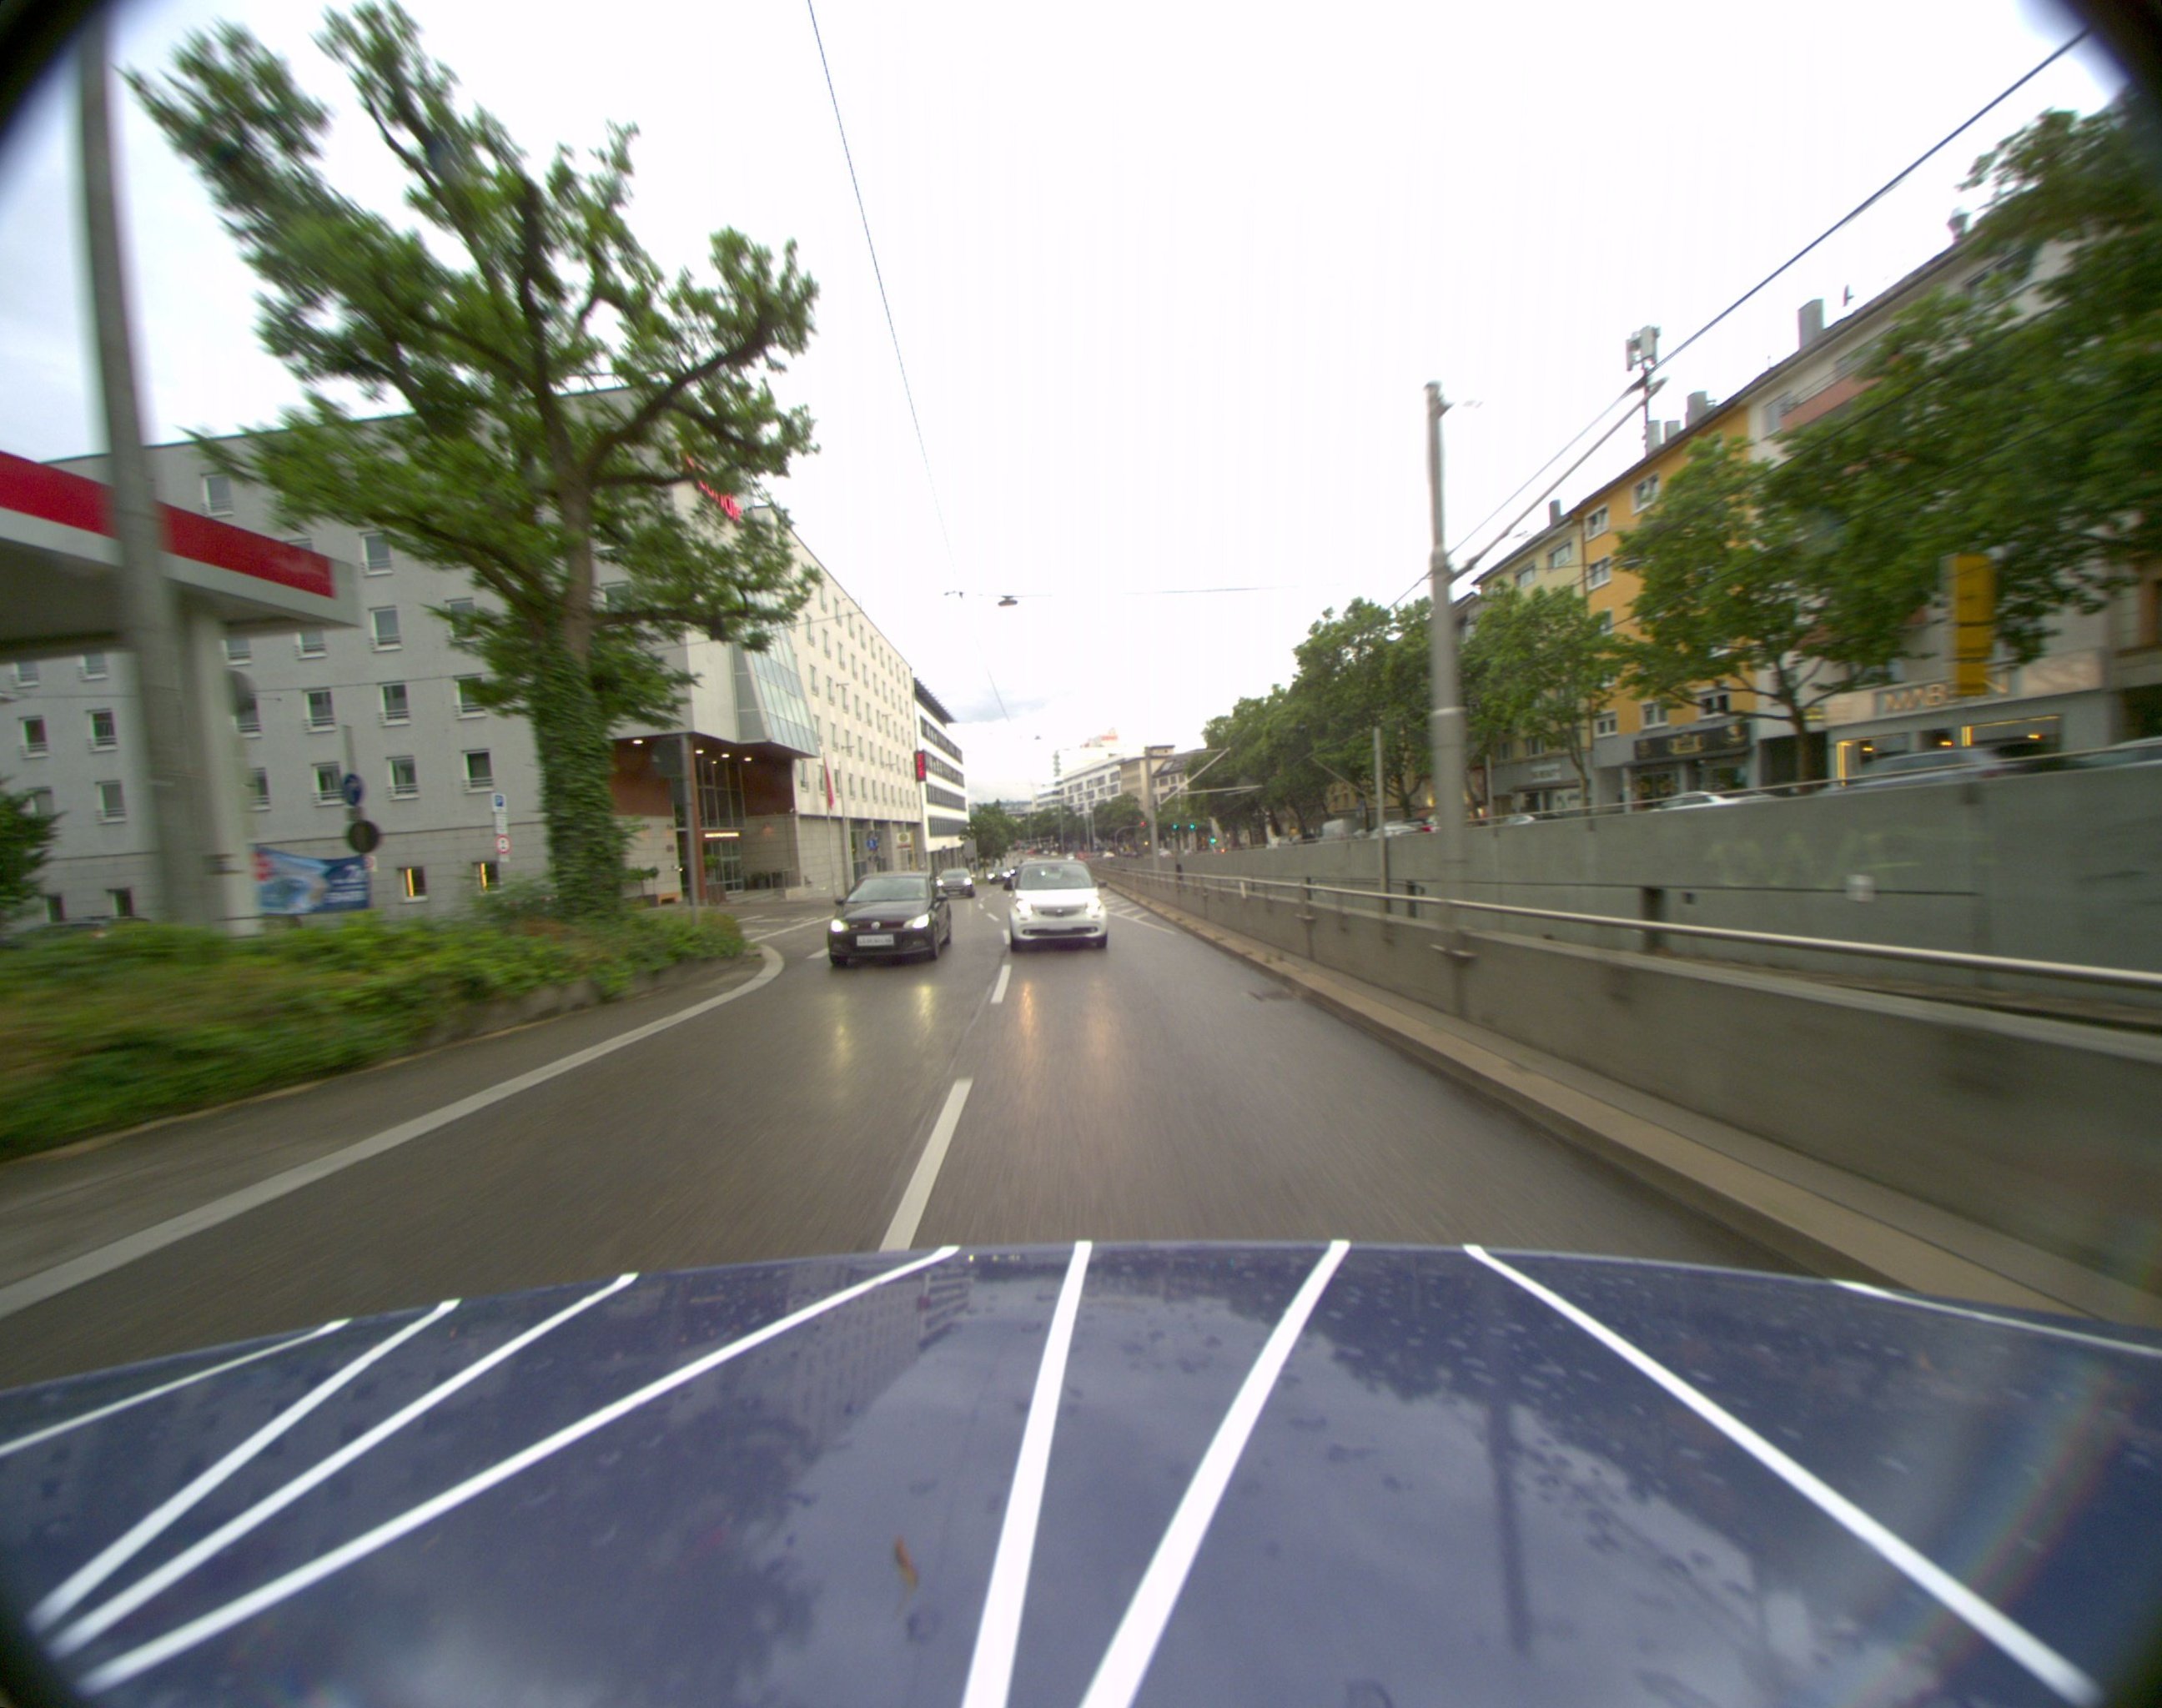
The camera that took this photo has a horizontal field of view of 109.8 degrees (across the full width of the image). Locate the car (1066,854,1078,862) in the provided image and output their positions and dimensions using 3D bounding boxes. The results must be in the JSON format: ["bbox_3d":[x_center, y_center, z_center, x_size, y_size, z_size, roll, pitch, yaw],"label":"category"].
[{"bbox_3d":[-2.081,1.007,178.174,1.800,1.733,3.995,-6,1,-14],"label":"car"}]

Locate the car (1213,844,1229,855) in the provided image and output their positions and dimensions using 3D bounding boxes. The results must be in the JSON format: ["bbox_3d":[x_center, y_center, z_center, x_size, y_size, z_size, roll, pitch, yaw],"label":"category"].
[{"bbox_3d":[22.651,-0.722,123.216,1.851,1.501,4.017,-6,0,2],"label":"car"}]

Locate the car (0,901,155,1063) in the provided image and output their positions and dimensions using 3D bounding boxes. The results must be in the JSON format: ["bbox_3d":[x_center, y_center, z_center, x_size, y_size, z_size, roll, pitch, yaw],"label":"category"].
[{"bbox_3d":[-12.343,1.428,7.345,1.776,1.614,3.868,-2,1,8],"label":"car"}]

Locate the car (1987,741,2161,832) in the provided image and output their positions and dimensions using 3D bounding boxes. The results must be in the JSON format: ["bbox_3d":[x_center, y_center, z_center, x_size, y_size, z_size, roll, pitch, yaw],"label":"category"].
[{"bbox_3d":[21.151,-1.398,14.868,1.799,1.602,4.112,-6,0,-1],"label":"car"}]

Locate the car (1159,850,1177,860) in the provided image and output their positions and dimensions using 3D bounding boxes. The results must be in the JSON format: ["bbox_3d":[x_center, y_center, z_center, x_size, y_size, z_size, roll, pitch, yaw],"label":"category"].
[{"bbox_3d":[15.503,0.109,135.595,1.852,1.501,4.818,-6,0,-8],"label":"car"}]

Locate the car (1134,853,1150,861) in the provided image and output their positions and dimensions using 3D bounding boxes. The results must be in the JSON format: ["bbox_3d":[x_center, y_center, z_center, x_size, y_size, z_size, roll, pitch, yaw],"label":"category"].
[{"bbox_3d":[12.286,0.545,152.884,1.800,1.501,4.339,-5,1,-12],"label":"car"}]

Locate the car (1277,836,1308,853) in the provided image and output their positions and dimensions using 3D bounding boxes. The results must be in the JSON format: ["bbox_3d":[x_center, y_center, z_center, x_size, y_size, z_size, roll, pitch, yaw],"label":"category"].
[{"bbox_3d":[22.661,-1.015,81.407,1.882,1.574,4.473,-6,0,-1],"label":"car"}]

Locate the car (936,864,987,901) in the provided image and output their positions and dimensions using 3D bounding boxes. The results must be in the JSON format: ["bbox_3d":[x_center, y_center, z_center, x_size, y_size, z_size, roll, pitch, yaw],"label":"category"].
[{"bbox_3d":[-5.810,1.340,37.223,1.751,1.433,3.706,-6,1,0],"label":"car"}]

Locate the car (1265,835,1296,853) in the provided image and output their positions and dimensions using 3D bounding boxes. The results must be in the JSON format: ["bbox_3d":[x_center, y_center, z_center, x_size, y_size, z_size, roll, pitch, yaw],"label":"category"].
[{"bbox_3d":[22.762,-1.095,86.806,1.882,1.754,4.900,-6,0,-4],"label":"car"}]

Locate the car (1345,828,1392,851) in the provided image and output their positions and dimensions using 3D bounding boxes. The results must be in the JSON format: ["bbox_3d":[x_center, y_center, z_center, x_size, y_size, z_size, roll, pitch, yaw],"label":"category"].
[{"bbox_3d":[22.067,-1.085,58.508,1.799,1.501,4.672,-6,0,0],"label":"car"}]

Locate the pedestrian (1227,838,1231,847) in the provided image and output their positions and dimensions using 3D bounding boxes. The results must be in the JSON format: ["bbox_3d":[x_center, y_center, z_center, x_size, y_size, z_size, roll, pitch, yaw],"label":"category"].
[{"bbox_3d":[28.983,-2.276,148.928,0.590,1.799,0.674,-6,1,5],"label":"pedestrian"}]

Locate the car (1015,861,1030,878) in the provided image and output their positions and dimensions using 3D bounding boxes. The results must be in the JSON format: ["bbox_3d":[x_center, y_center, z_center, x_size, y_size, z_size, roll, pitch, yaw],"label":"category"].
[{"bbox_3d":[-8.017,2.096,103.335,1.799,1.934,3.998,-6,1,-4],"label":"car"}]

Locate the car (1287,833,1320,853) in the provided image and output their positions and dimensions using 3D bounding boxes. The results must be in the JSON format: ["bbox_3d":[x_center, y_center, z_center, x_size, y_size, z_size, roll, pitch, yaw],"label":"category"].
[{"bbox_3d":[22.394,-1.111,76.602,1.799,1.719,4.205,-6,0,-2],"label":"car"}]

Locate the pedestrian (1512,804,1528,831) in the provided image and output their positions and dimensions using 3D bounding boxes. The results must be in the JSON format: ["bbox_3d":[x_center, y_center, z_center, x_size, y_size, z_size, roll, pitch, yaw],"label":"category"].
[{"bbox_3d":[29.509,-2.430,51.074,0.524,1.738,0.622,-8,1,8],"label":"pedestrian"}]

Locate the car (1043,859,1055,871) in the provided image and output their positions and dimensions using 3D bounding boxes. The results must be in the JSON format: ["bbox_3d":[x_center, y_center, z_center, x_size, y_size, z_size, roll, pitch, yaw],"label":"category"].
[{"bbox_3d":[-5.570,1.909,133.755,1.799,1.934,3.998,-6,1,-4],"label":"car"}]

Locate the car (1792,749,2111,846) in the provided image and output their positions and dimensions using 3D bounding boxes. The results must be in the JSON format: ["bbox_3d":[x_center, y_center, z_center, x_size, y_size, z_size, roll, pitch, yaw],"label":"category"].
[{"bbox_3d":[17.600,-1.045,15.736,1.799,1.501,4.108,-6,0,0],"label":"car"}]

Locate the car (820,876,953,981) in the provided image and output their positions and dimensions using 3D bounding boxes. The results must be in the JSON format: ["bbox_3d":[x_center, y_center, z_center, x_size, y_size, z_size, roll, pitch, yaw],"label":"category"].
[{"bbox_3d":[-3.196,1.144,13.159,1.679,1.391,3.846,-3,0,-7],"label":"car"}]

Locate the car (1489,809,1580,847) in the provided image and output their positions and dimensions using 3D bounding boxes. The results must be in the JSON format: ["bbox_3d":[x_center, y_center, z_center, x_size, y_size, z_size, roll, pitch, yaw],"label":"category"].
[{"bbox_3d":[21.723,-1.206,36.609,1.799,1.501,4.208,-6,0,1],"label":"car"}]

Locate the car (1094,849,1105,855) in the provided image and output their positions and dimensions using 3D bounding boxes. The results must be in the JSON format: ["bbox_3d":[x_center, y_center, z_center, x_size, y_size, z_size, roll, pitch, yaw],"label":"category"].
[{"bbox_3d":[4.760,-0.510,196.569,1.801,1.501,3.995,-5,1,-16],"label":"car"}]

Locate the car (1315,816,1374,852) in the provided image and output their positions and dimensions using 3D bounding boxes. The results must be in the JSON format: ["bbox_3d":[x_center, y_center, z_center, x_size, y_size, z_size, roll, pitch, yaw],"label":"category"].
[{"bbox_3d":[22.460,-1.651,65.067,2.459,2.646,6.931,-6,0,0],"label":"car"}]

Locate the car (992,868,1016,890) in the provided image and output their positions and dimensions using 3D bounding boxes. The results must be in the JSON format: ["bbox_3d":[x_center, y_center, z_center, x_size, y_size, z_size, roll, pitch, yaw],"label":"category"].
[{"bbox_3d":[-7.035,2.276,69.752,1.799,1.656,3.999,-6,1,-2],"label":"car"}]

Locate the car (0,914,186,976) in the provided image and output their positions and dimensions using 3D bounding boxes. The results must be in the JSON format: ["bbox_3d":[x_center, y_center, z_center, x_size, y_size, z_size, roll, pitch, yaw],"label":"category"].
[{"bbox_3d":[-32.388,2.948,24.901,3.996,1.501,1.801,-5,-1,2],"label":"car"}]

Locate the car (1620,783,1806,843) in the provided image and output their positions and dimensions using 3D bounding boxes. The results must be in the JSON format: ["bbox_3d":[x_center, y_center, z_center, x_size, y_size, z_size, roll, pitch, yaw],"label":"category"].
[{"bbox_3d":[21.456,-1.310,26.173,1.932,1.591,5.199,-6,0,0],"label":"car"}]

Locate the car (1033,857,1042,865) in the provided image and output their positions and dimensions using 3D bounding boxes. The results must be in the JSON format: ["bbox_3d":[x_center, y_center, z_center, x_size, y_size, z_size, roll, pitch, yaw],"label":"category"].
[{"bbox_3d":[-9.272,1.508,162.205,1.799,1.501,3.998,-6,1,-5],"label":"car"}]

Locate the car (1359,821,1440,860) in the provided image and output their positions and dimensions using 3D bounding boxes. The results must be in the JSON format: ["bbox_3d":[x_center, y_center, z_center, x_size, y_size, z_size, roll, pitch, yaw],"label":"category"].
[{"bbox_3d":[14.500,-0.587,34.832,1.799,1.501,4.000,-6,0,-2],"label":"car"}]

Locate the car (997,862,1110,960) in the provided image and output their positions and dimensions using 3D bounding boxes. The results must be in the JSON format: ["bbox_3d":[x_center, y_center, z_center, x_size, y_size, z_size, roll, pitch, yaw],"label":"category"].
[{"bbox_3d":[-0.480,0.953,14.461,1.799,1.528,4.000,-2,0,-1],"label":"car"}]

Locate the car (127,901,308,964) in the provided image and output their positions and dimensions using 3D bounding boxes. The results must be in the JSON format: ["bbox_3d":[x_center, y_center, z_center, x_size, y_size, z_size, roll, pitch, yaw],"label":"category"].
[{"bbox_3d":[-27.554,2.482,24.316,3.995,1.501,1.801,-6,-1,7],"label":"car"}]

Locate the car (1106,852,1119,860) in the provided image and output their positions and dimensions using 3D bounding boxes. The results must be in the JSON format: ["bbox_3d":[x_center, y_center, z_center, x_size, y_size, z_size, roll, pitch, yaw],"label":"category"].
[{"bbox_3d":[7.163,0.449,173.992,1.800,1.760,4.727,-5,1,-11],"label":"car"}]

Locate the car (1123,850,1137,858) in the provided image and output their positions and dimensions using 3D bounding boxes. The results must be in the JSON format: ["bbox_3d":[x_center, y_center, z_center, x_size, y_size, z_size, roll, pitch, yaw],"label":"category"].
[{"bbox_3d":[11.146,0.052,172.161,1.800,1.501,3.995,-6,1,-15],"label":"car"}]

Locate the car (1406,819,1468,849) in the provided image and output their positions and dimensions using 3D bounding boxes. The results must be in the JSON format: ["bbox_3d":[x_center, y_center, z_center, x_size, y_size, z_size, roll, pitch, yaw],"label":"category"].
[{"bbox_3d":[22.076,-1.194,47.279,1.799,1.561,4.208,-6,0,1],"label":"car"}]

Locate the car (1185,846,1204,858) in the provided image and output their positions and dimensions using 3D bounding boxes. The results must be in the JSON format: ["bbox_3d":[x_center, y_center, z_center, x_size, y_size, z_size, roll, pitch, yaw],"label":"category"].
[{"bbox_3d":[16.878,-0.232,113.392,2.031,1.501,4.883,-6,0,1],"label":"car"}]

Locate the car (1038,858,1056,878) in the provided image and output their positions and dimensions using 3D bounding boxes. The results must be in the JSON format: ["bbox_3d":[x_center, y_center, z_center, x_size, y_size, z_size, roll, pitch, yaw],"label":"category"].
[{"bbox_3d":[-3.803,1.548,85.581,1.799,2.021,3.999,-6,1,-2],"label":"car"}]

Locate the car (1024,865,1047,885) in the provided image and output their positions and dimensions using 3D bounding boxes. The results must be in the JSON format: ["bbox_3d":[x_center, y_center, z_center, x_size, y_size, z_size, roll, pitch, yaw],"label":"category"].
[{"bbox_3d":[-4.119,1.876,69.531,1.799,1.501,3.999,-6,1,-2],"label":"car"}]
